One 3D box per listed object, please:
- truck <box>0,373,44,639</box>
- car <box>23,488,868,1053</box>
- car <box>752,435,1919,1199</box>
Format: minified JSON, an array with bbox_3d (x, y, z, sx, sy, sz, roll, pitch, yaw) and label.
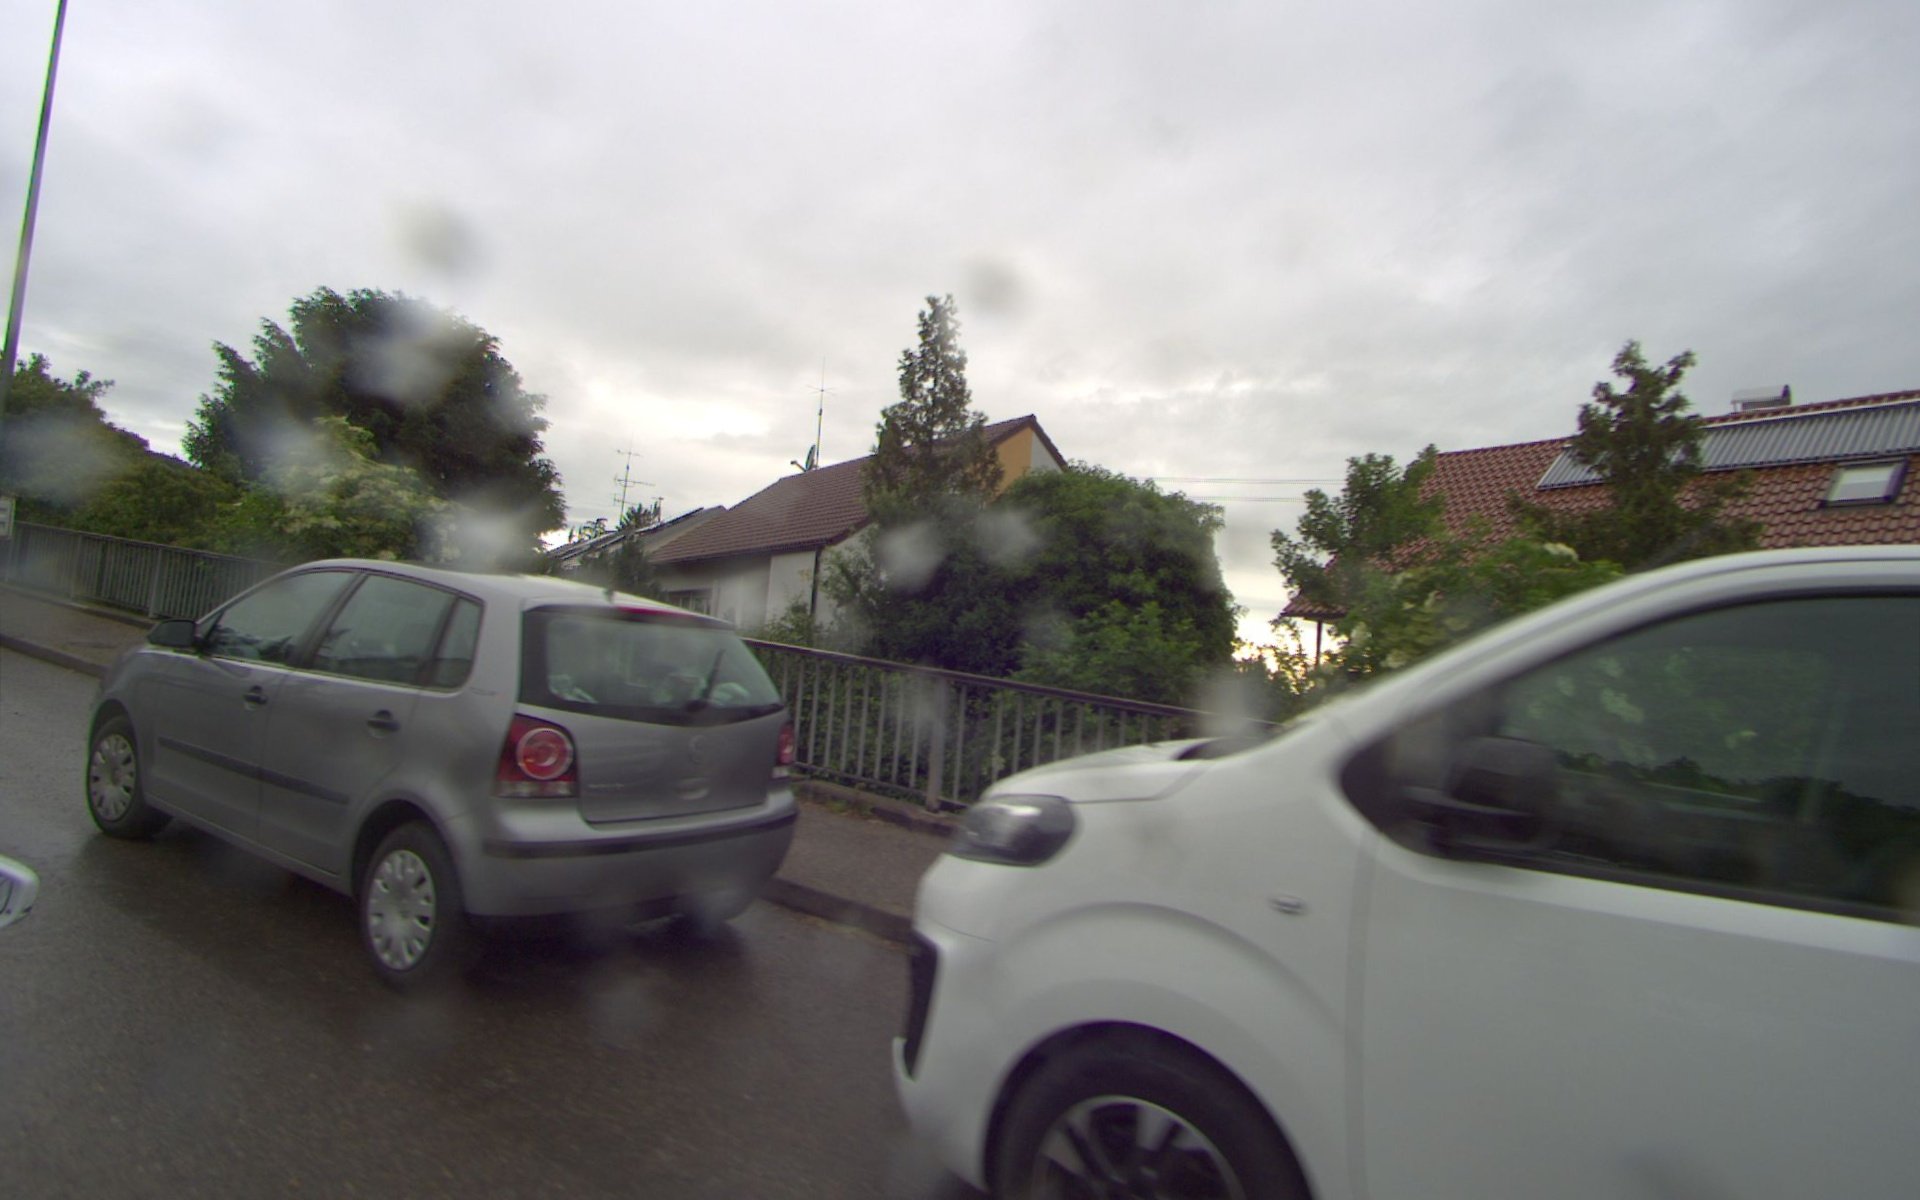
[{"bbox_3d":[-12.876,-1.300,11.082,6.430,2.663,2.242,6,-1,32],"label":"truck"},{"bbox_3d":[-2.559,0.466,4.737,3.898,1.582,1.650,6,-1,32],"label":"car"},{"bbox_3d":[2.137,0.848,2.111,4.826,1.904,1.853,6,-1,28],"label":"car"}]
